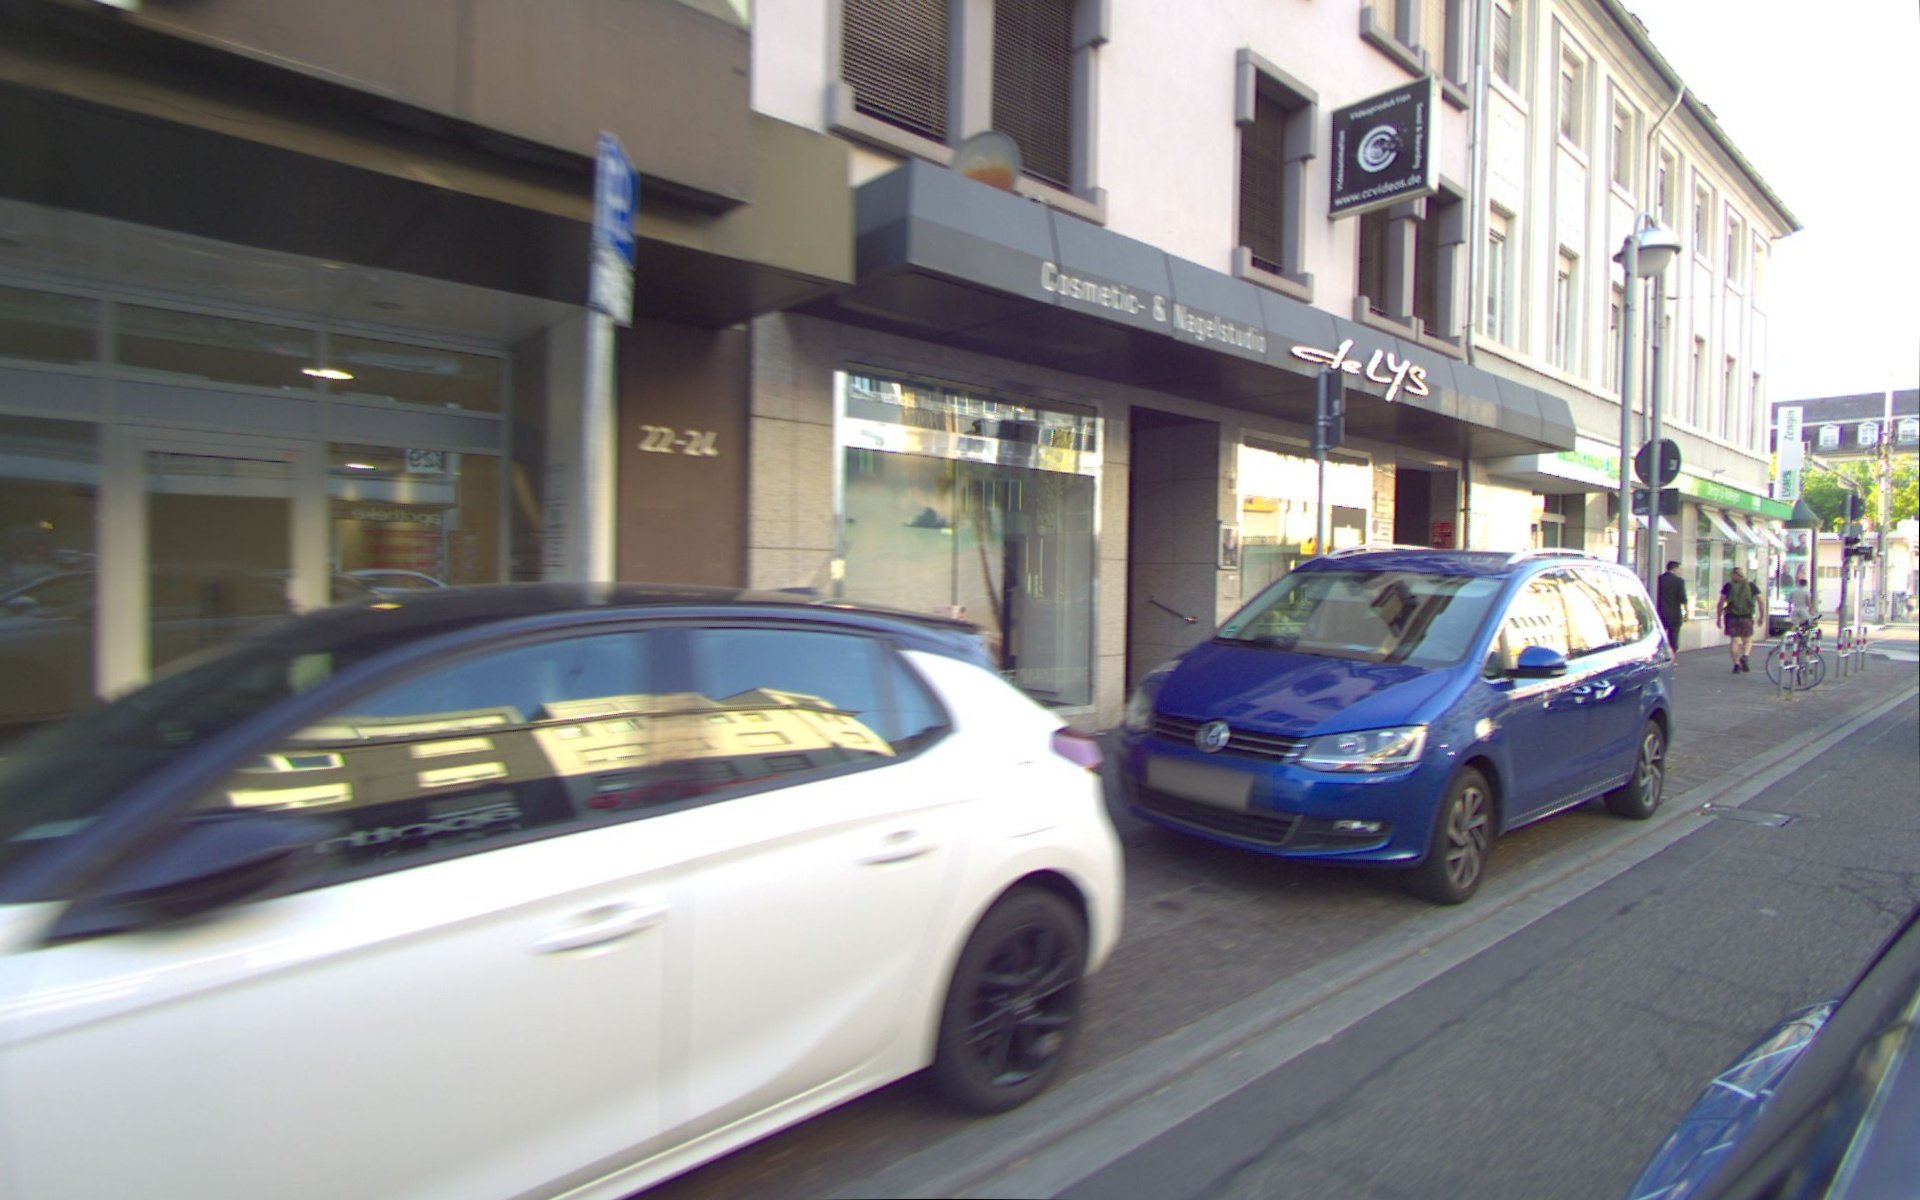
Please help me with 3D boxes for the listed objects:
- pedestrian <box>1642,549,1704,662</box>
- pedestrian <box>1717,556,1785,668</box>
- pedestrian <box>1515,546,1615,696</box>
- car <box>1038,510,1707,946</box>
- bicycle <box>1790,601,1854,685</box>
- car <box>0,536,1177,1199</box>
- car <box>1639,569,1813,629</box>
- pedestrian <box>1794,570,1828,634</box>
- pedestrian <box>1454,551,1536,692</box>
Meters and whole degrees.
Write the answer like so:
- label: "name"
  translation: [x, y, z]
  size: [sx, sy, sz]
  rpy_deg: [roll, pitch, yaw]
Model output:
- label: "pedestrian"
  translation: [12.656, 0.082, 17.966]
  size: [0.864, 1.951, 0.662]
  rpy_deg: [0, 2, -43]
- label: "pedestrian"
  translation: [13.575, 0.190, 17.375]
  size: [0.836, 1.851, 0.738]
  rpy_deg: [0, 2, -43]
- label: "pedestrian"
  translation: [7.740, 0.239, 12.945]
  size: [0.911, 1.828, 0.768]
  rpy_deg: [0, 3, -40]
- label: "car"
  translation: [2.790, 0.441, 6.281]
  size: [4.497, 1.748, 1.998]
  rpy_deg: [-1, 3, -41]
- label: "bicycle"
  translation: [12.925, 0.619, 15.164]
  size: [1.465, 1.161, 0.534]
  rpy_deg: [-1, 2, -43]
- label: "car"
  translation: [-1.369, 0.603, 2.577]
  size: [3.819, 1.450, 1.799]
  rpy_deg: [0, 3, -41]
- label: "car"
  translation: [25.082, -0.084, 33.242]
  size: [1.797, 1.820, 4.279]
  rpy_deg: [0, 2, -41]
- label: "pedestrian"
  translation: [23.905, 0.051, 28.438]
  size: [0.691, 1.764, 0.644]
  rpy_deg: [2, 1, 39]
- label: "pedestrian"
  translation: [6.895, 0.258, 13.043]
  size: [0.666, 1.739, 0.651]
  rpy_deg: [0, 3, -40]
